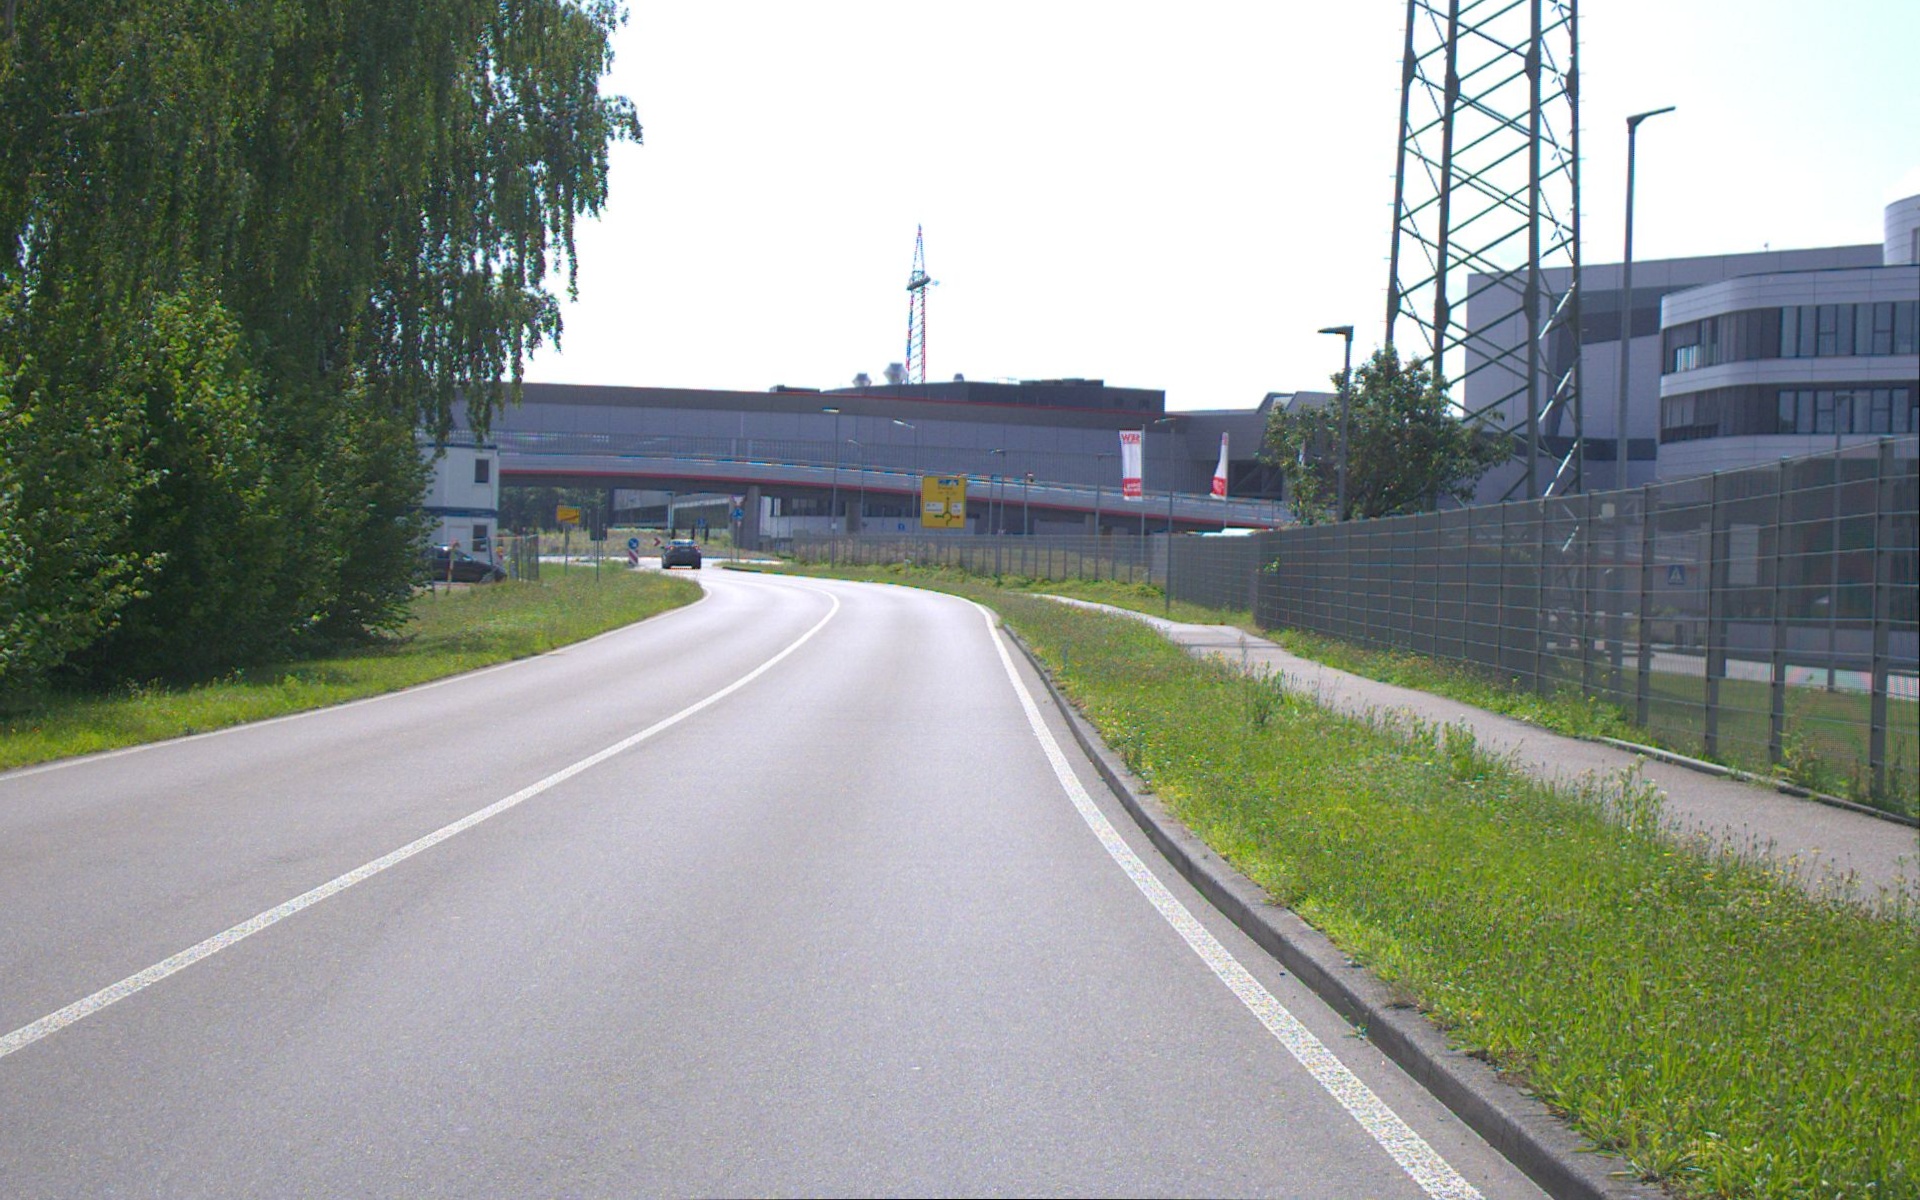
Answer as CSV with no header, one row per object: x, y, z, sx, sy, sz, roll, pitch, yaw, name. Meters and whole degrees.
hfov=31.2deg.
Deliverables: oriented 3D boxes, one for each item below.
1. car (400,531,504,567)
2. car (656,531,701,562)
-20.311,-2.045,137.451,3.688,1.285,1.708,2,1,-30,car
-14.632,-2.770,178.440,2.011,1.503,4.001,2,1,-8,car
